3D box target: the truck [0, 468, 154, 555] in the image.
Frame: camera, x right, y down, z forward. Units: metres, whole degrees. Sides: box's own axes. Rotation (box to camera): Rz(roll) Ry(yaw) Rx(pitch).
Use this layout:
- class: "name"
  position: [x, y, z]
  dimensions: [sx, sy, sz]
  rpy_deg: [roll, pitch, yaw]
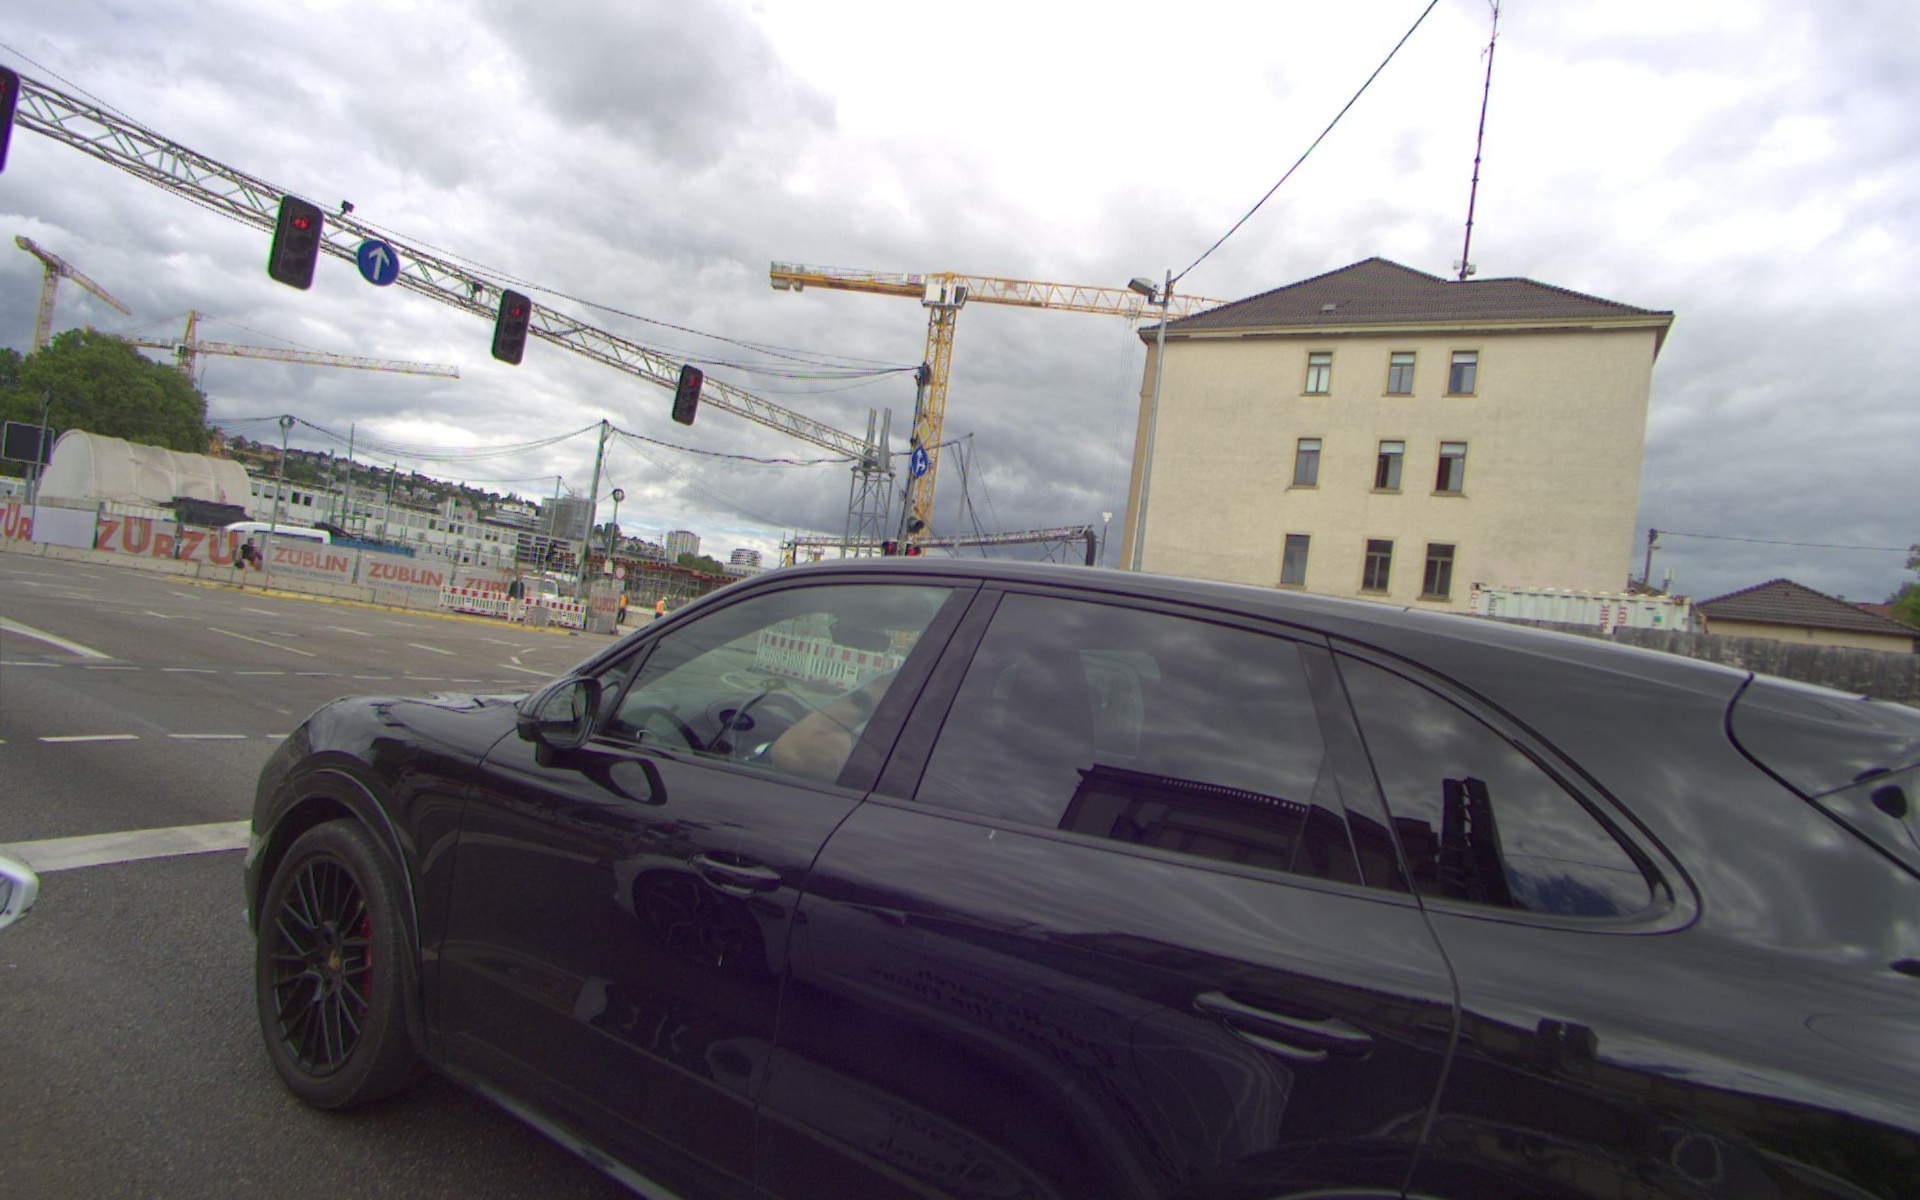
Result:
- class: "truck"
  position: [-57.900, -5.794, 61.933]
  dimensions: [3.875, 4.086, 13.088]
  rpy_deg: [8, -2, 12]

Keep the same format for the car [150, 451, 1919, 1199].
- class: "car"
  position: [0.031, 0.720, 2.696]
  dimensions: [4.559, 1.705, 1.959]
  rpy_deg: [7, -2, 33]

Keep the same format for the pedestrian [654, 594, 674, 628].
- class: "pedestrian"
  position: [-15.863, 0.591, 53.851]
  dimensions: [0.508, 1.737, 0.654]
  rpy_deg: [7, -1, 21]

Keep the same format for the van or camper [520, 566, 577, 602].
- class: "van or camper"
  position: [-41.392, -1.545, 101.253]
  dimensions: [1.963, 2.945, 5.304]
  rpy_deg: [7, -2, 20]

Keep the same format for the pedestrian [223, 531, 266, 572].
- class: "pedestrian"
  position: [-27.297, -1.837, 38.396]
  dimensions: [0.889, 1.393, 0.798]
  rpy_deg: [8, -1, -7]

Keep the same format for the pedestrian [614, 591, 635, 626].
- class: "pedestrian"
  position: [-18.401, 0.462, 55.144]
  dimensions: [0.607, 1.816, 0.654]
  rpy_deg: [7, -1, 21]

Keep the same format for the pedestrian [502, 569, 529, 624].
- class: "pedestrian"
  position: [-17.219, -0.133, 38.944]
  dimensions: [0.647, 2.037, 0.513]
  rpy_deg: [8, -1, -33]

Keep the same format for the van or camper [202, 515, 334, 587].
- class: "van or camper"
  position: [-29.813, -2.072, 43.413]
  dimensions: [4.204, 2.384, 1.976]
  rpy_deg: [10, -3, -44]

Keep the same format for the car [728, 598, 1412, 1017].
- class: "car"
  position: [0.588, 1.047, 6.372]
  dimensions: [3.818, 1.561, 1.667]
  rpy_deg: [7, -2, 33]

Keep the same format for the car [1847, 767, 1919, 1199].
- class: "car"
  position: [5.646, 1.678, 2.677]
  dimensions: [4.579, 1.589, 1.825]
  rpy_deg: [6, -2, 34]
